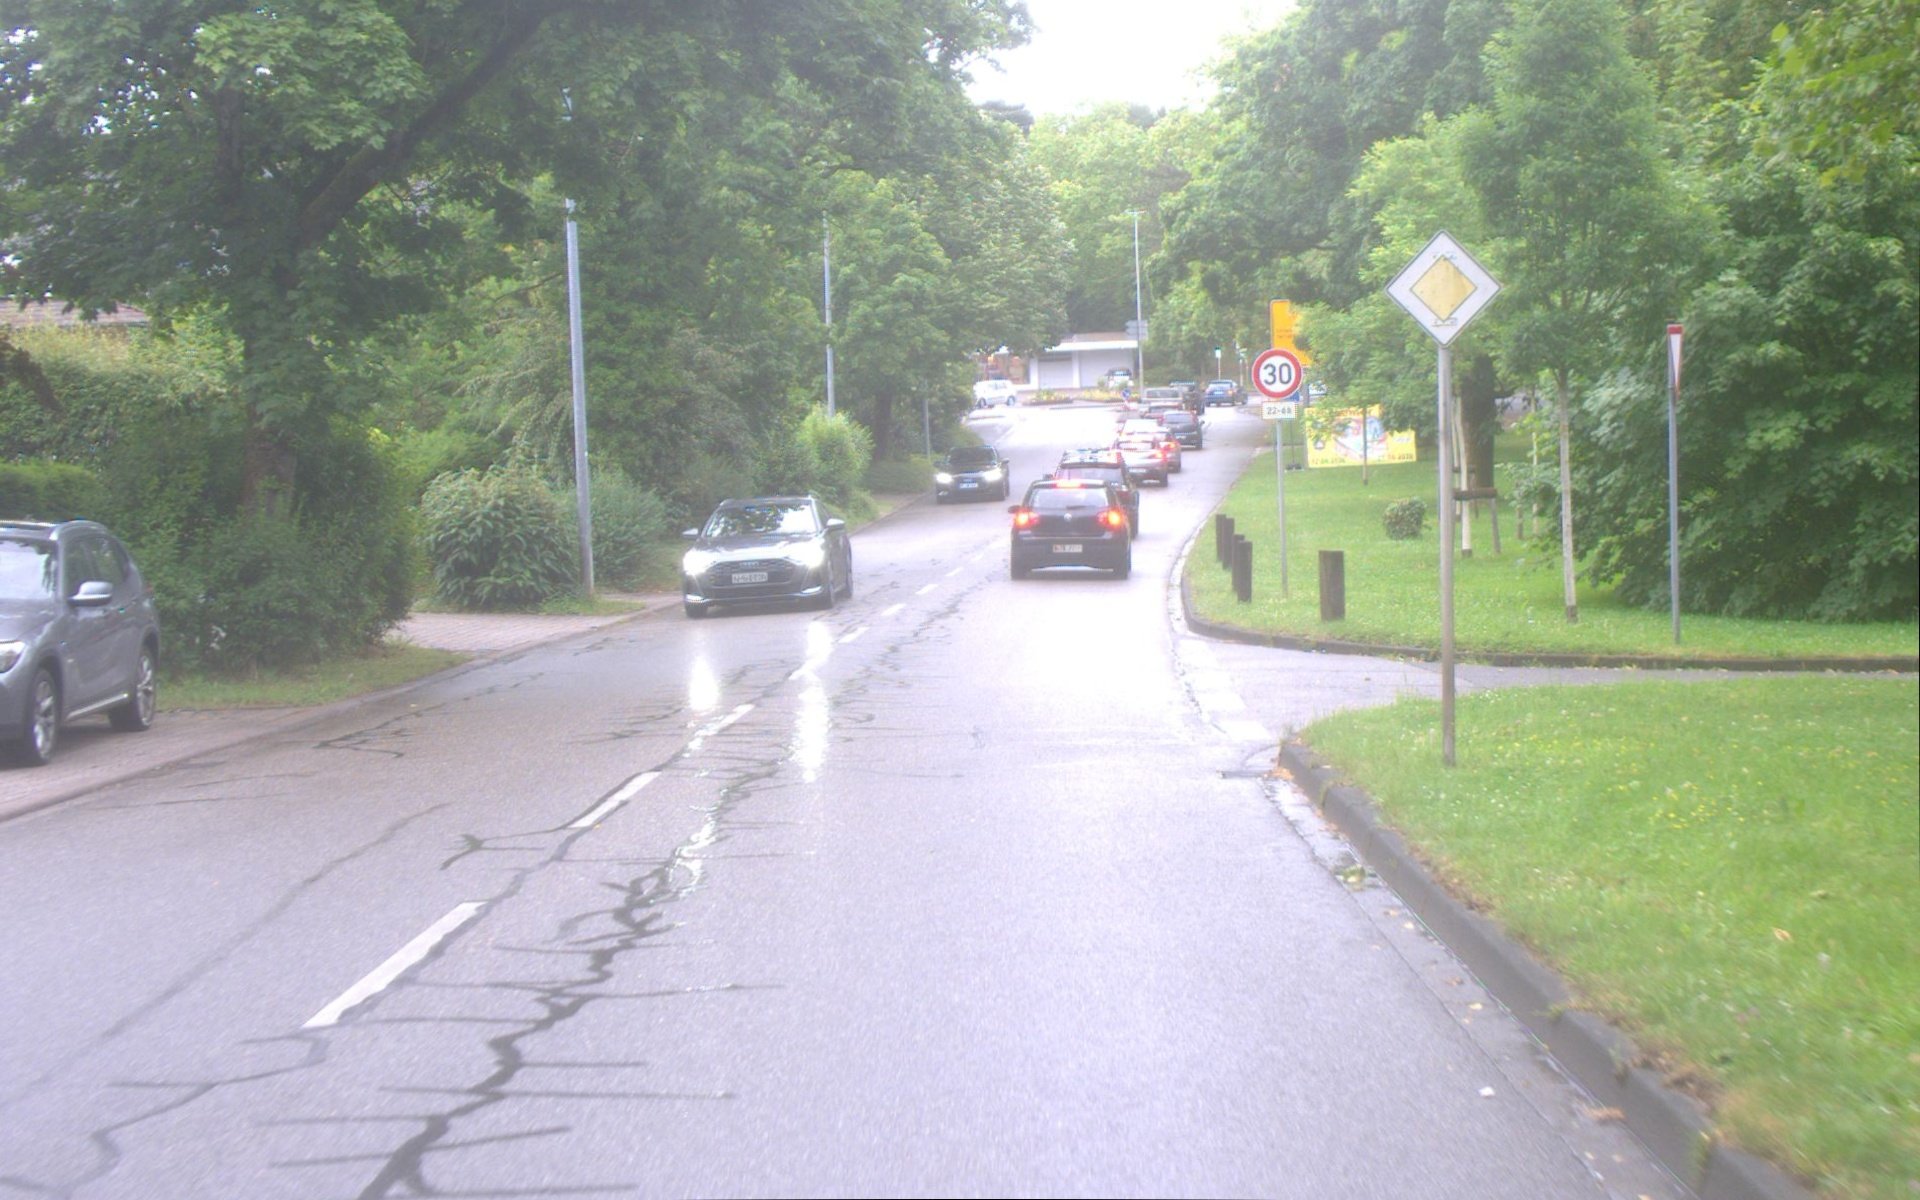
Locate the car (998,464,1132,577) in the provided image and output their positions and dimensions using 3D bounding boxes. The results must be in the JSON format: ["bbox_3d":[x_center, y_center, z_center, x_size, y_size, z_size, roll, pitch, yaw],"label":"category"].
[{"bbox_3d":[1.620,-1.231,51.747,1.799,1.510,3.754,0,4,5],"label":"car"}]

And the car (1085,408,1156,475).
[{"bbox_3d":[4.753,-4.680,101.160,1.856,1.778,4.000,-2,4,5],"label":"car"}]

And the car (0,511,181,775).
[{"bbox_3d":[-6.668,0.211,23.513,1.663,1.537,4.284,1,2,0],"label":"car"}]

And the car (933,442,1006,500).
[{"bbox_3d":[0.293,-3.559,94.534,1.754,1.358,4.326,-3,4,3],"label":"car"}]

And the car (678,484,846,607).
[{"bbox_3d":[-2.486,-0.721,44.036,1.690,1.391,4.491,-3,1,2],"label":"car"}]

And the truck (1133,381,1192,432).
[{"bbox_3d":[8.678,-8.307,147.087,2.417,1.997,5.151,-2,4,4],"label":"truck"}]

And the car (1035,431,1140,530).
[{"bbox_3d":[2.595,-2.428,69.242,1.856,1.778,4.000,-2,4,5],"label":"car"}]
